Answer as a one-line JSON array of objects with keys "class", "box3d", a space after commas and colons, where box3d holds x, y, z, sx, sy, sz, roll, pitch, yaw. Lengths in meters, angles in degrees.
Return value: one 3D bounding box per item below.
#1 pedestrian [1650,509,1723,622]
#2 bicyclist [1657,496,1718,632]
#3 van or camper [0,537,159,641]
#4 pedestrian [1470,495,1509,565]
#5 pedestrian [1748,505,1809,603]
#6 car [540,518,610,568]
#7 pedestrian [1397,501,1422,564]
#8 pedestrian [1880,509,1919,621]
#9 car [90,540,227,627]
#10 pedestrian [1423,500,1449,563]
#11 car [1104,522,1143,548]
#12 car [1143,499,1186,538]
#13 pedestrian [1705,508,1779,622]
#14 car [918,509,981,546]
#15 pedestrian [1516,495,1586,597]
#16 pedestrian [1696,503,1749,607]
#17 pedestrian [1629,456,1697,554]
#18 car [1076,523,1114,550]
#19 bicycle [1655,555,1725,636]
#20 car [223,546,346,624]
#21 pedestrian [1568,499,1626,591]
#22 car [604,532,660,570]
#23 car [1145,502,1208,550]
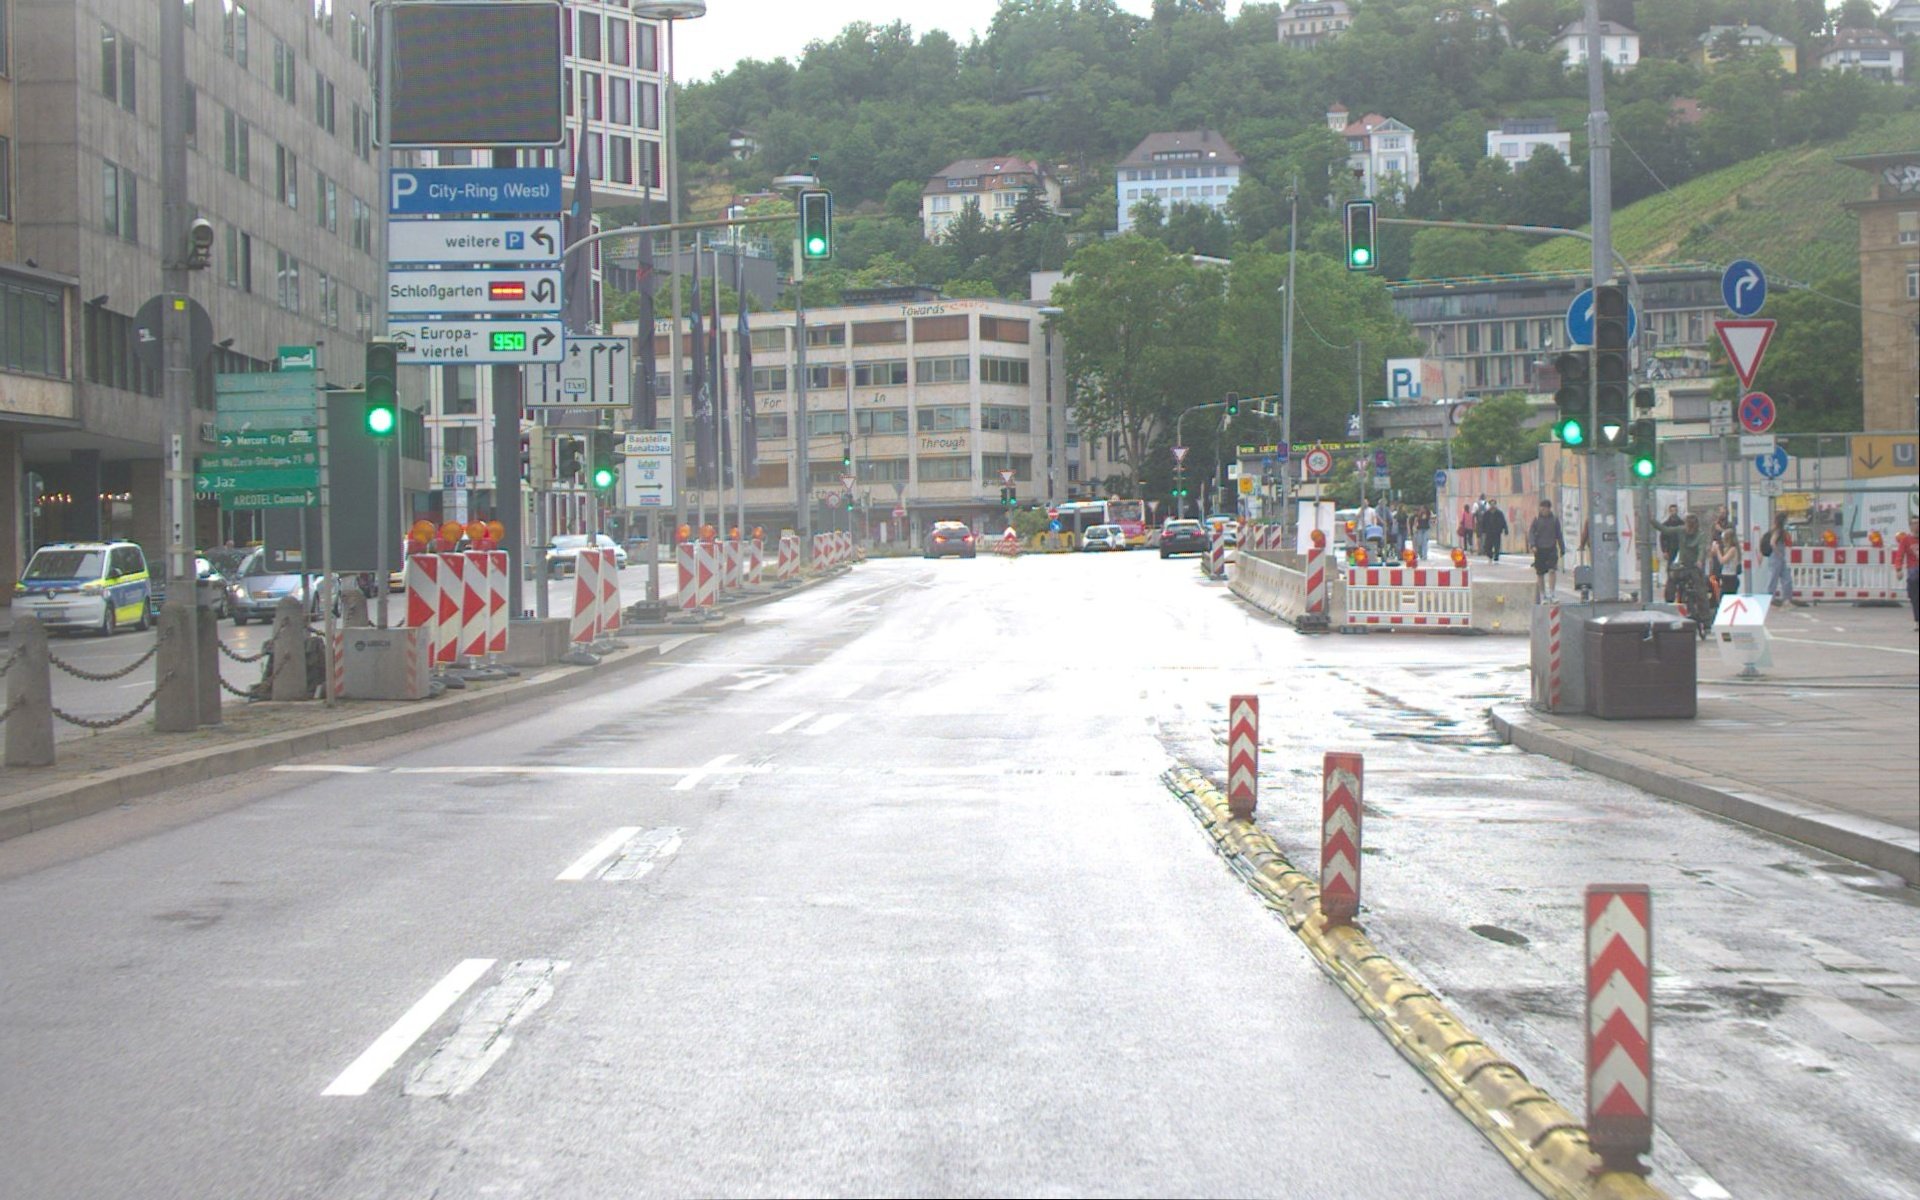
[{"class": "pedestrian", "box3d": [10.490, -0.497, 49.632, 0.796, 1.602, 0.834, -1, 1, 29]}, {"class": "bicyclist", "box3d": [9.956, -0.490, 47.055, 0.703, 1.838, 0.968, 0, 1, 5]}, {"class": "van or camper", "box3d": [-17.980, -0.251, 70.291, 1.993, 2.007, 4.965, -1, 1, 0]}, {"class": "pedestrian", "box3d": [14.141, -1.867, 91.820, 0.946, 1.835, 0.867, -1, 1, 7]}, {"class": "pedestrian", "box3d": [14.194, -0.800, 59.651, 0.864, 1.655, 0.797, -1, 1, 3]}, {"class": "car", "box3d": [-14.128, -2.100, 126.315, 1.993, 1.744, 4.000, -1, 1, 1]}, {"class": "pedestrian", "box3d": [13.307, -1.989, 101.813, 0.688, 1.835, 0.614, -1, 1, 6]}, {"class": "pedestrian", "box3d": [14.016, -0.519, 50.228, 0.767, 1.602, 0.863, -2, 1, -14]}, {"class": "car", "box3d": [-17.907, -0.390, 76.977, 1.993, 1.831, 4.000, -2, 1, 1]}, {"class": "pedestrian", "box3d": [14.090, -2.037, 101.765, 0.688, 1.835, 0.614, -1, 1, 6]}, {"class": "car", "box3d": [9.499, -3.798, 200.070, 1.993, 1.437, 4.001, 0, 2, -1]}, {"class": "car", "box3d": [9.397, -3.741, 158.394, 1.776, 1.634, 4.000, -2, 0, 2]}, {"class": "pedestrian", "box3d": [11.196, -0.498, 49.232, 0.796, 1.602, 0.834, -1, 1, 30]}, {"class": "car", "box3d": [-0.474, -3.154, 149.906, 1.993, 1.546, 4.001, -2, 1, -11]}, {"class": "pedestrian", "box3d": [10.844, -0.991, 63.066, 0.948, 1.835, 0.945, -1, 1, 31]}, {"class": "pedestrian", "box3d": [13.667, -0.811, 61.628, 0.865, 1.835, 0.797, -1, 1, 10]}, {"class": "pedestrian", "box3d": [13.402, -1.814, 65.567, 0.867, 1.835, 0.947, -1, 1, 43]}, {"class": "car", "box3d": [7.326, -3.462, 186.811, 1.819, 1.437, 4.000, 0, 2, -1]}, {"class": "bicycle", "box3d": [9.956, -0.066, 46.919, 0.707, 1.046, 1.806, 0, 2, 5]}, {"class": "car", "box3d": [-14.636, -0.351, 74.683, 1.768, 1.603, 4.226, -1, 1, 1]}, {"class": "pedestrian", "box3d": [13.000, -1.116, 70.155, 0.946, 1.835, 0.867, -1, 1, -2]}, {"class": "car", "box3d": [-14.393, -2.157, 150.940, 1.993, 1.612, 4.000, -1, 1, 1]}, {"class": "car", "box3d": [7.978, -2.729, 127.228, 1.993, 1.700, 4.000, -1, 1, -1]}]
